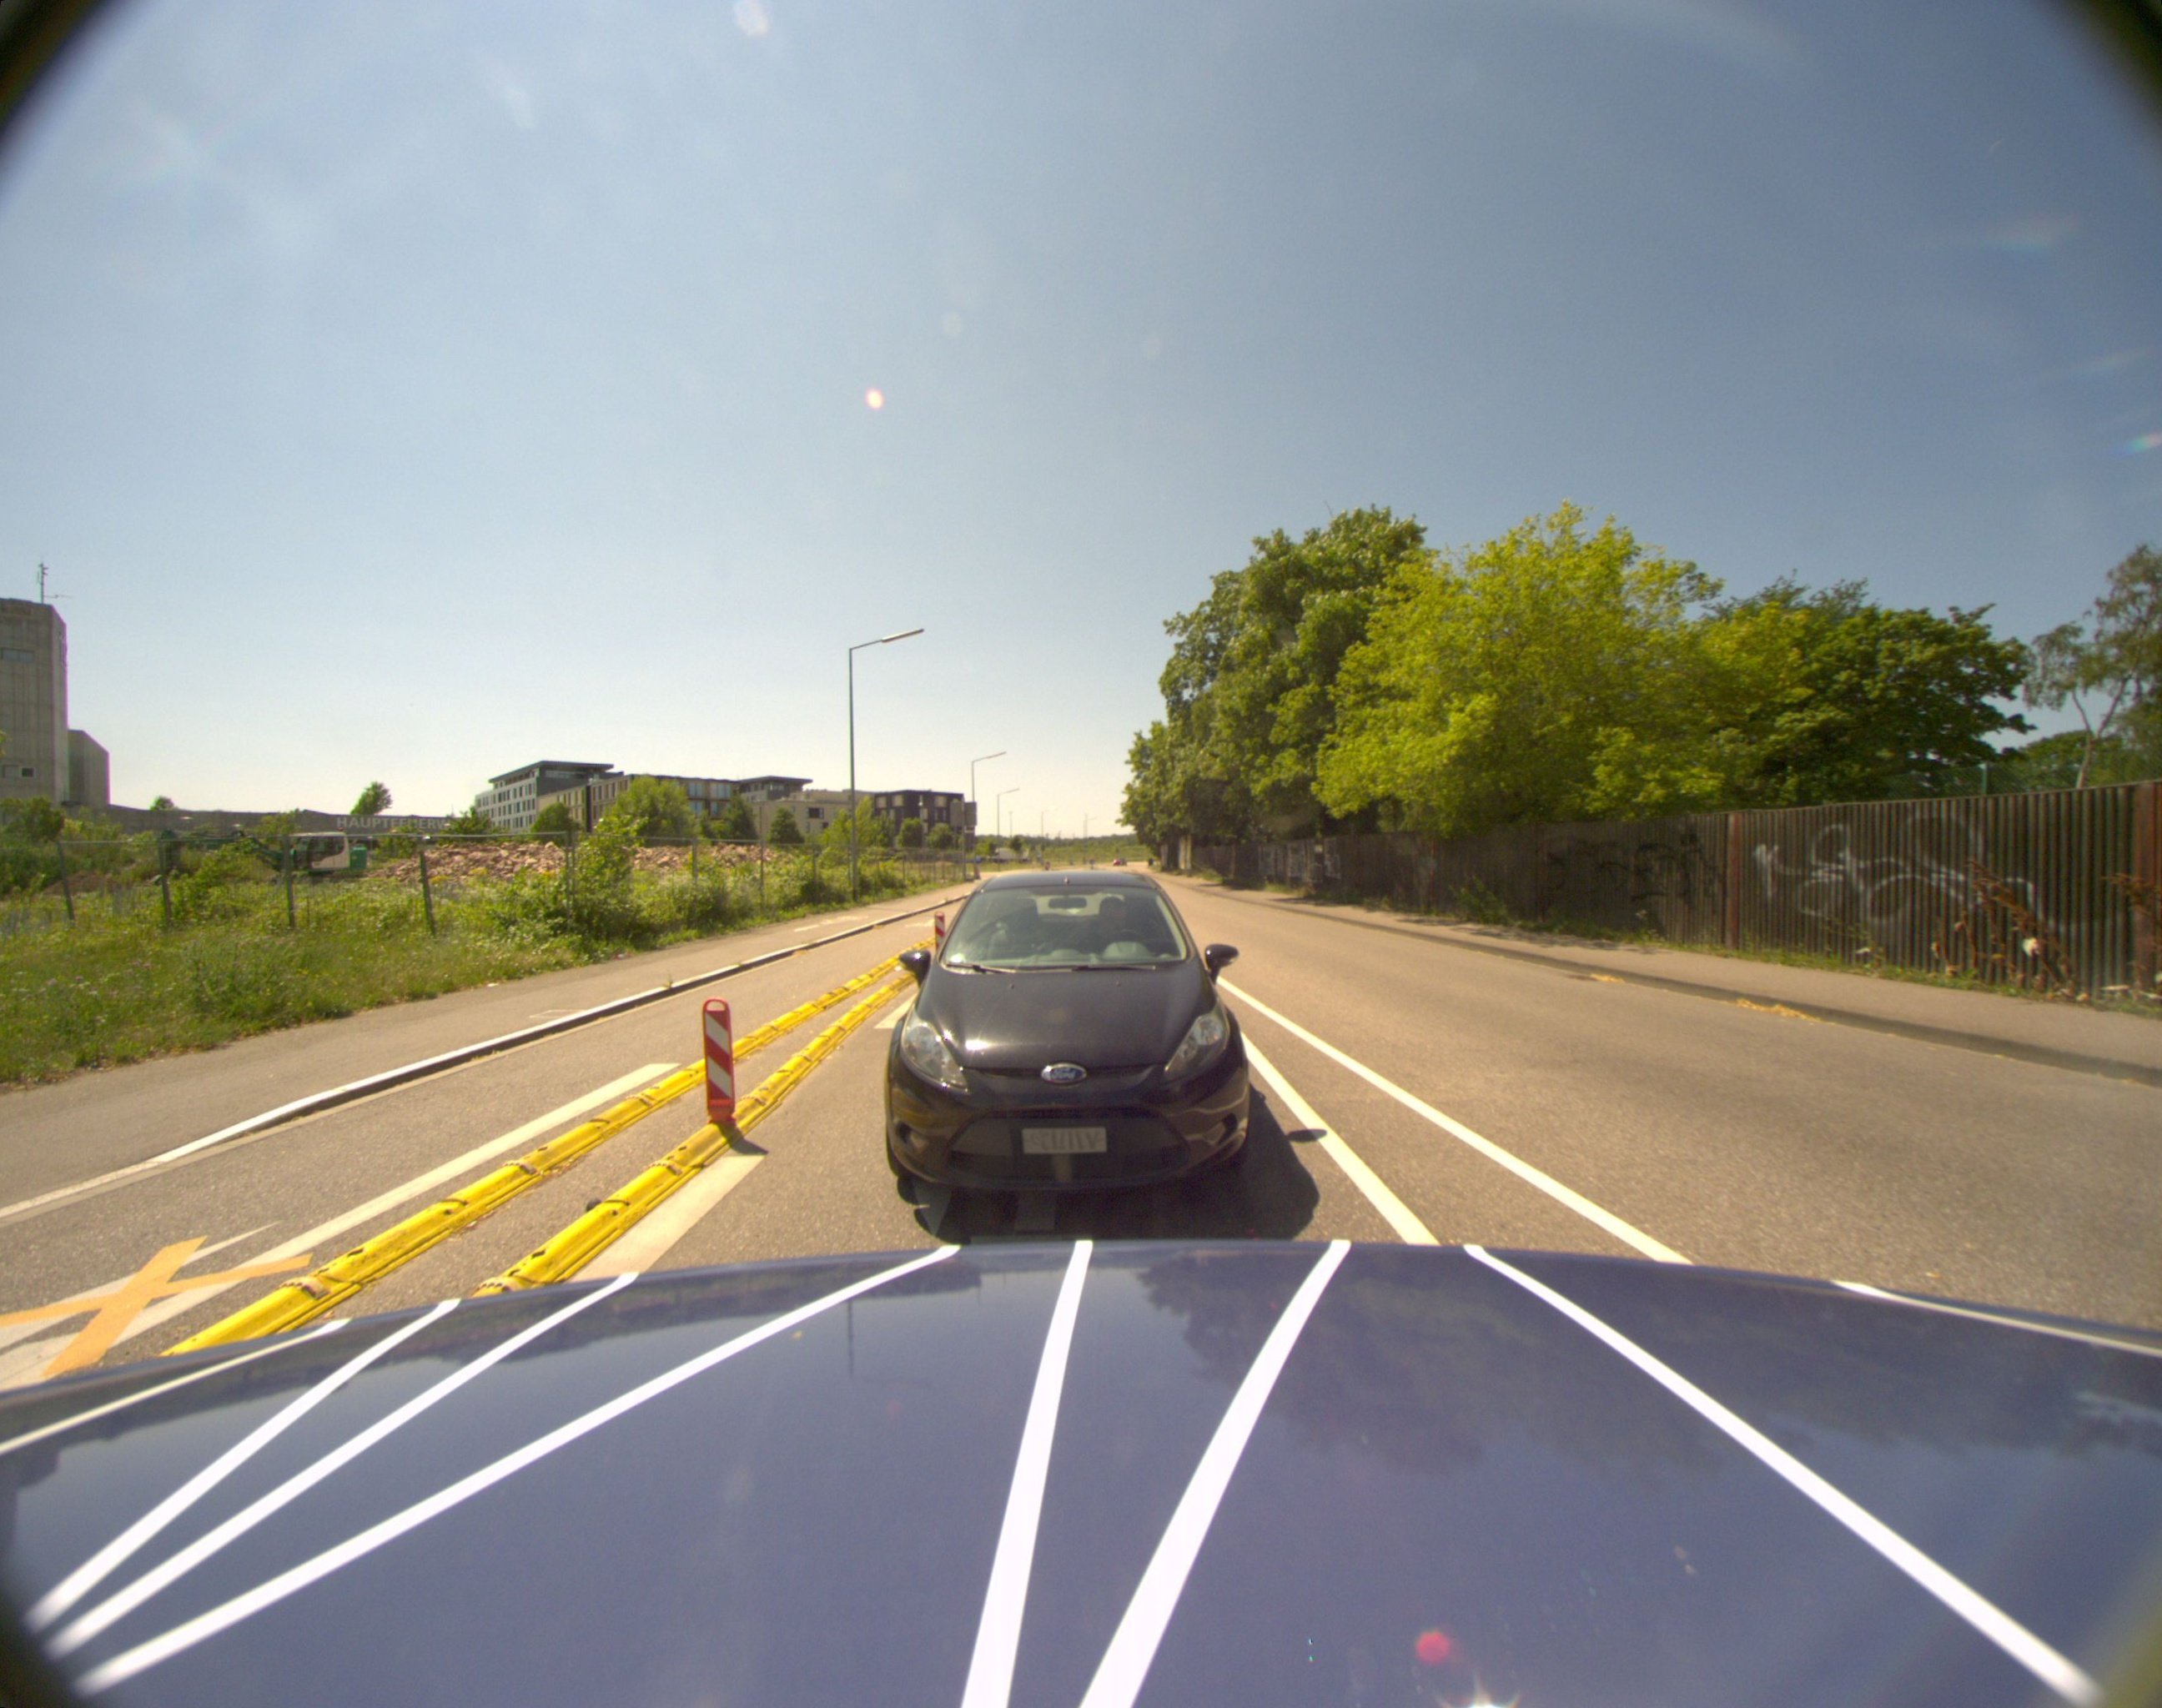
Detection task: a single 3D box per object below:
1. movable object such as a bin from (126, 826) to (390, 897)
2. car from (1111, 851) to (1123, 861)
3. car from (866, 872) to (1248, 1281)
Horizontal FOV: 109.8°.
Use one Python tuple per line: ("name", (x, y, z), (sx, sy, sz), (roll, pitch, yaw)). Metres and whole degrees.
("movable object such as a bin", (-38.352, 0.264, 35.942), (3.231, 2.899, 7.702), (-2, 1, 15))
("car", (6.590, 0.387, 138.207), (1.924, 1.643, 4.668), (-2, 1, 1))
("car", (-0.071, 0.974, 5.148), (1.528, 1.510, 3.999), (-2, 1, 1))
